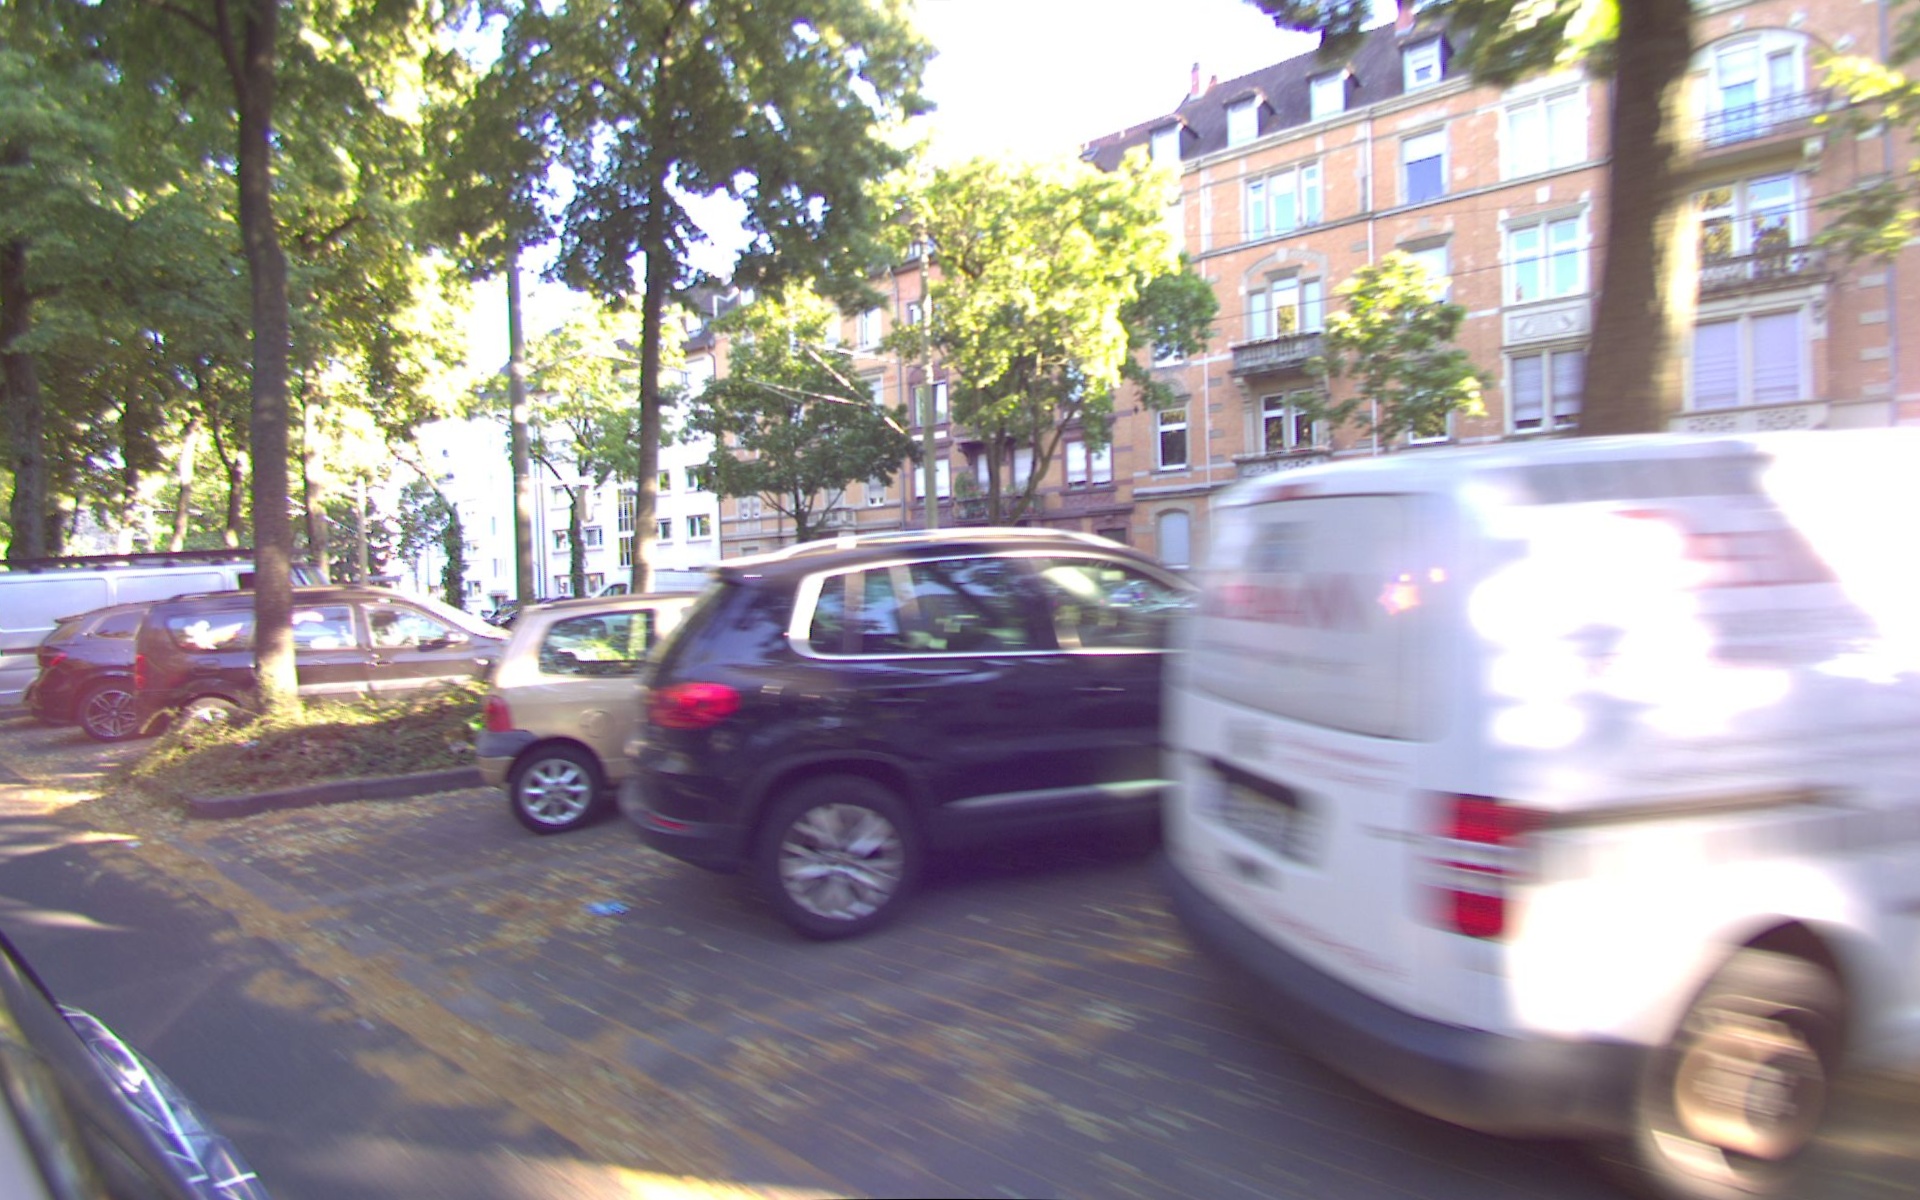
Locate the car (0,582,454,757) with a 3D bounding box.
[{"bbox_3d":[-9.027,0.733,12.956,4.442,1.628,1.941,-5,3,-26],"label":"car"}]

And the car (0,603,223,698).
[{"bbox_3d":[-18.043,1.022,20.552,4.494,1.552,1.941,-4,3,-18],"label":"car"}]

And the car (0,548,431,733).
[{"bbox_3d":[-11.073,0.490,14.964,5.420,2.152,2.088,-5,3,-21],"label":"car"}]

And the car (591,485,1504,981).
[{"bbox_3d":[0.370,0.402,5.216,4.090,1.656,1.921,-4,3,-17],"label":"car"}]

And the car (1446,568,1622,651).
[{"bbox_3d":[14.114,0.248,24.944,3.503,1.796,1.834,-3,2,38],"label":"car"}]

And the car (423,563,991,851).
[{"bbox_3d":[-1.722,0.572,7.182,3.369,1.436,1.840,-5,3,-19],"label":"car"}]

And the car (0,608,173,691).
[{"bbox_3d":[-20.225,1.115,22.352,4.024,1.499,1.790,-5,3,-20],"label":"car"}]

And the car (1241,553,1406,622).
[{"bbox_3d":[10.197,-0.286,28.512,4.018,1.796,1.833,-2,-2,38],"label":"car"}]

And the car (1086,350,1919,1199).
[{"bbox_3d":[2.708,0.307,3.144,4.092,1.794,1.889,-4,3,-13],"label":"car"}]

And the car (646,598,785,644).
[{"bbox_3d":[-7.969,0.671,32.981,4.250,1.373,1.736,-1,-1,-18],"label":"car"}]

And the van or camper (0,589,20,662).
[{"bbox_3d":[-35.072,1.038,33.823,4.803,2.488,2.052,-4,3,-24],"label":"van or camper"}]

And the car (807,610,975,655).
[{"bbox_3d":[-1.859,0.848,27.175,4.095,1.106,1.833,0,-1,-23],"label":"car"}]

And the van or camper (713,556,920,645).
[{"bbox_3d":[-4.151,-0.011,29.282,5.455,2.389,2.315,-1,-1,-23],"label":"van or camper"}]

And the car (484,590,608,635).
[{"bbox_3d":[-15.832,0.474,38.933,4.250,1.594,1.912,-1,-1,-18],"label":"car"}]

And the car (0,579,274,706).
[{"bbox_3d":[-15.878,0.753,18.857,4.634,1.957,1.941,-4,3,-18],"label":"car"}]

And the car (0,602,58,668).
[{"bbox_3d":[-32.200,1.249,32.139,4.803,1.992,2.052,-4,3,-22],"label":"car"}]

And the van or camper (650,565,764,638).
[{"bbox_3d":[-11.450,0.148,45.617,5.506,3.133,2.054,-2,-2,38],"label":"van or camper"}]

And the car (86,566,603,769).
[{"bbox_3d":[-6.333,0.590,11.087,4.443,1.628,1.860,-4,3,-18],"label":"car"}]

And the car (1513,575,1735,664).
[{"bbox_3d":[11.438,0.284,17.381,3.932,1.327,1.599,-2,0,-31],"label":"car"}]

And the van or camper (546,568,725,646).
[{"bbox_3d":[-11.100,0.211,34.702,5.579,2.487,2.006,-1,-1,-27],"label":"van or camper"}]

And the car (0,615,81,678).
[{"bbox_3d":[-25.608,1.303,26.225,3.760,1.449,1.831,-4,3,-17],"label":"car"}]
